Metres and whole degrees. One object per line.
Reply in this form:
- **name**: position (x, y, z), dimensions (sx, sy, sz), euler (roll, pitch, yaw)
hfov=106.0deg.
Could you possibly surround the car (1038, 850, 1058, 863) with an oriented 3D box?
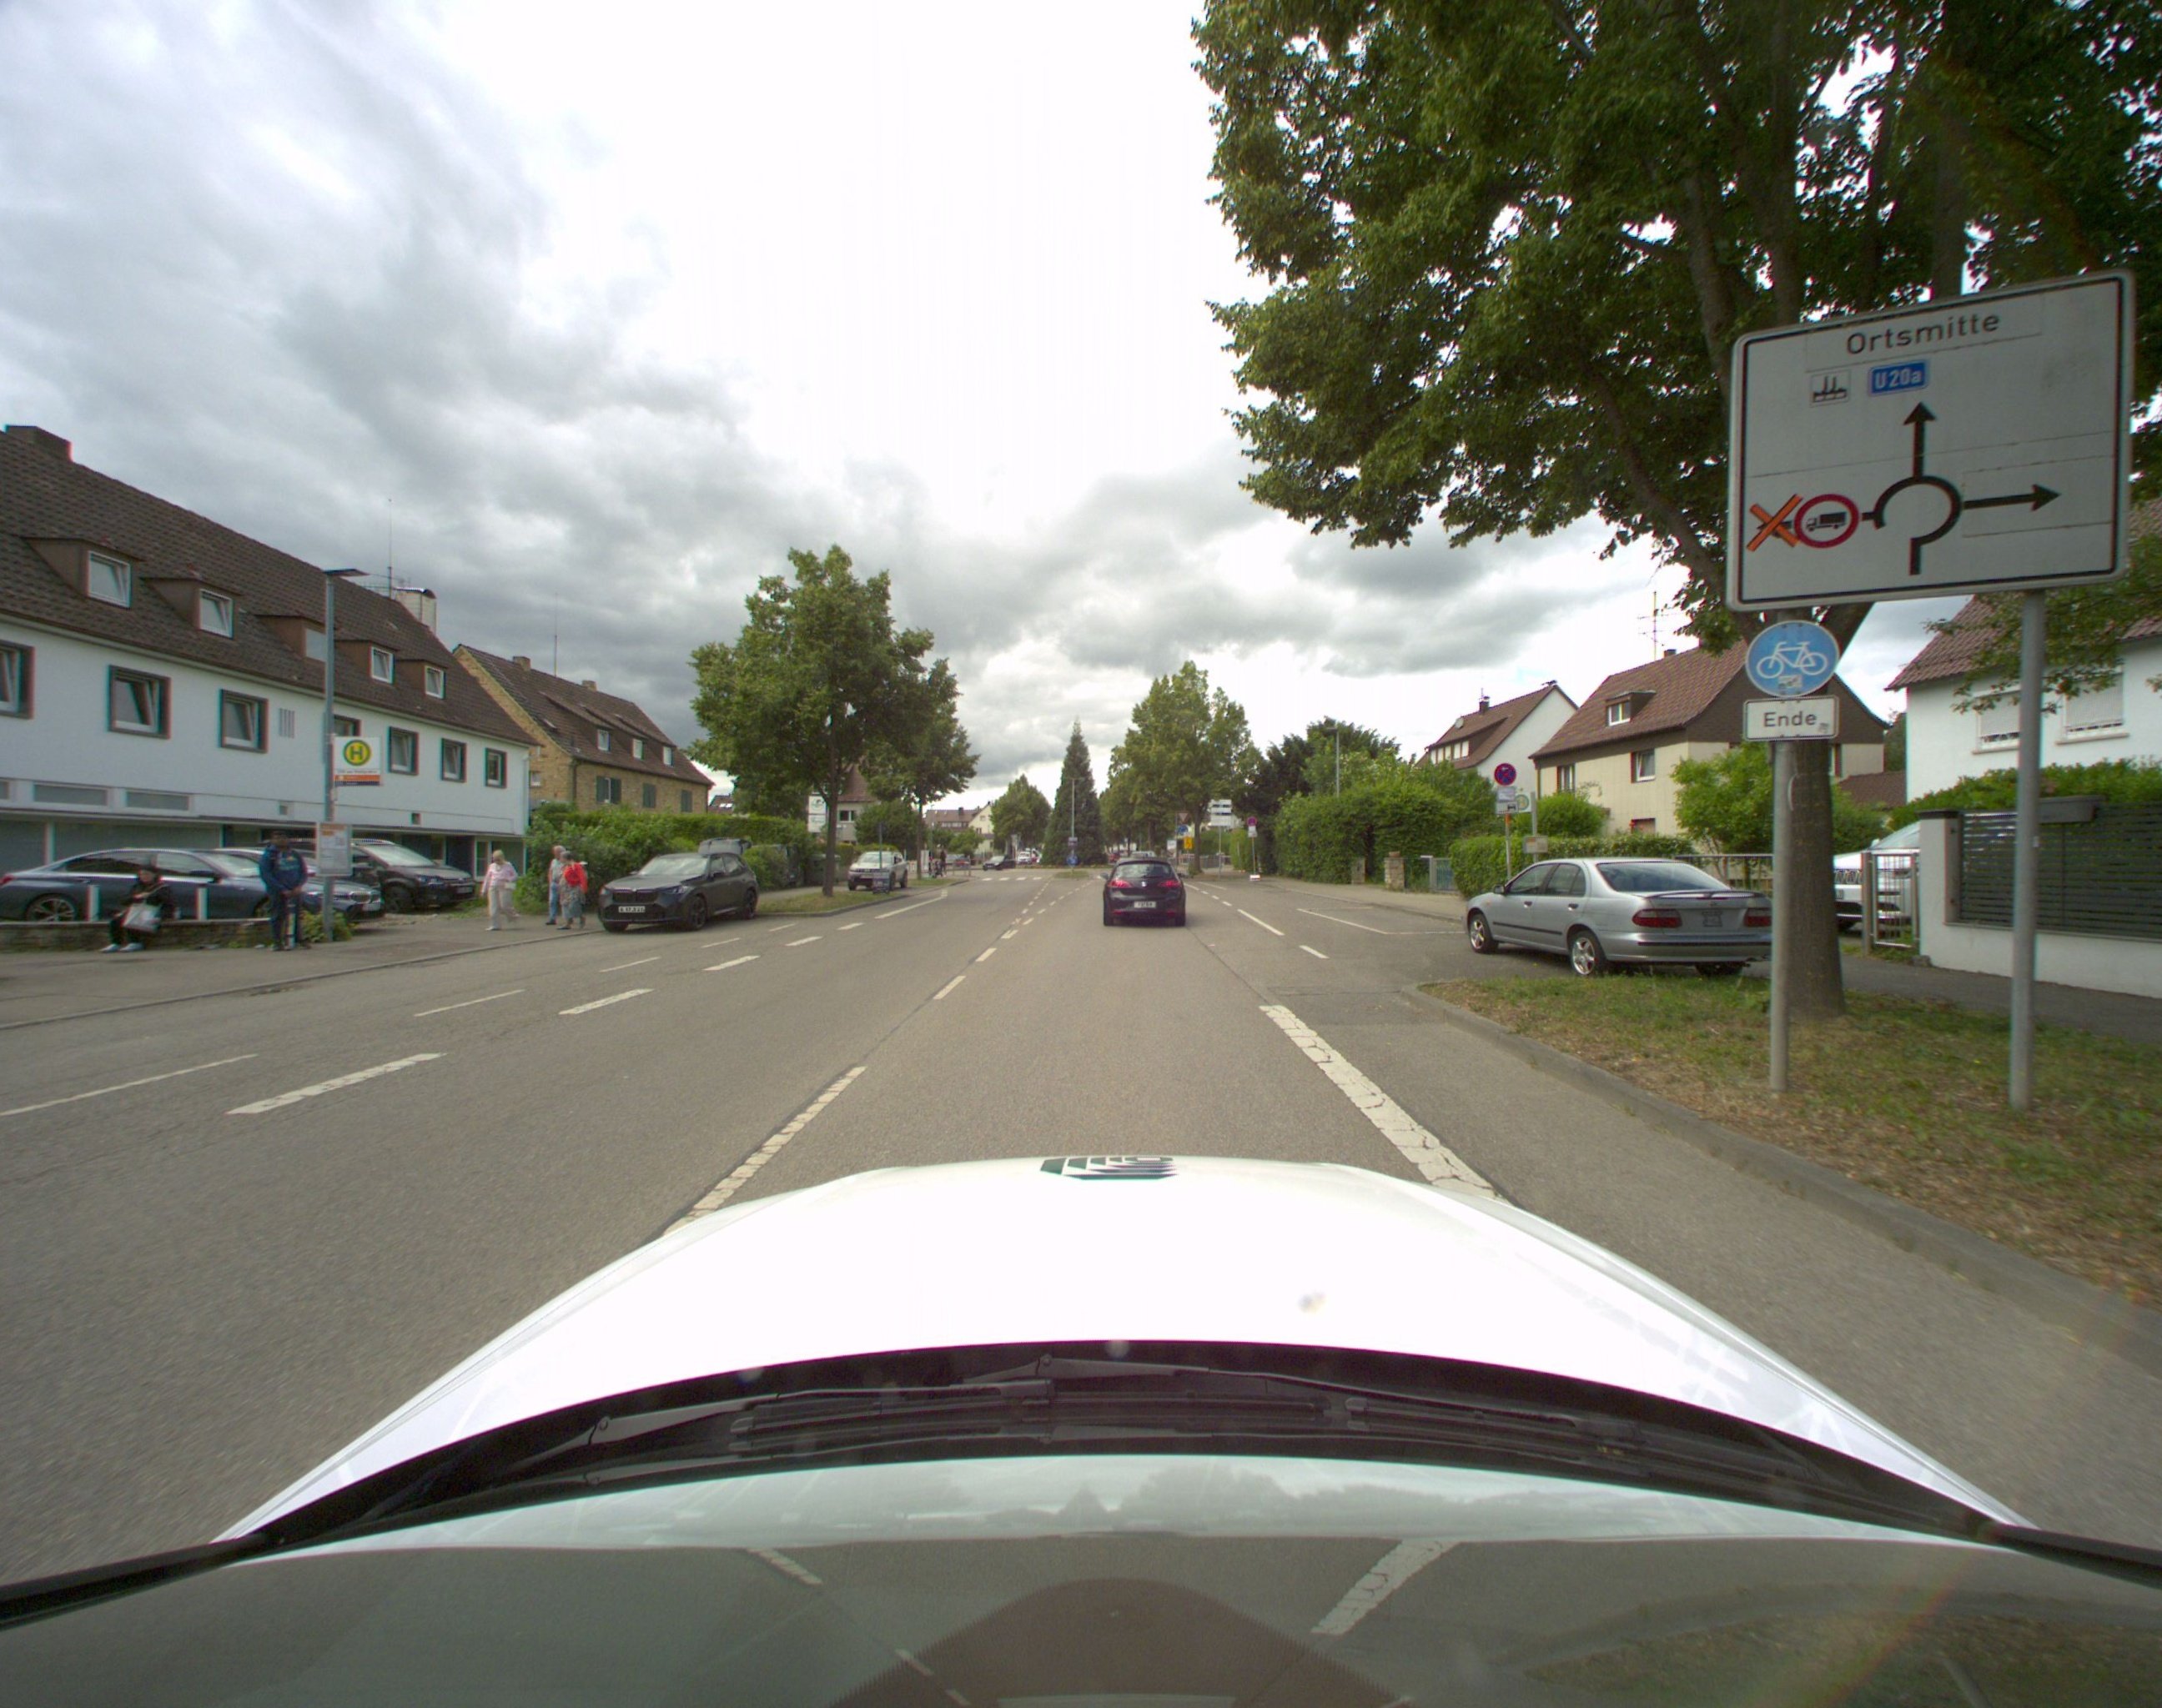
- **car**: position (-4.025, 0.263, 99.464), dimensions (1.860, 1.560, 4.265), euler (-1, 0, 5)

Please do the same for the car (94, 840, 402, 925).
- **car**: position (-16.247, 0.532, 16.087), dimensions (3.981, 1.482, 1.788), euler (2, 0, -5)

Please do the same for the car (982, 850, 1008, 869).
- **car**: position (-7.752, 0.497, 73.855), dimensions (1.560, 1.634, 3.628), euler (-1, 0, 6)

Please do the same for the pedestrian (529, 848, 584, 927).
- **pedestrian**: position (-11.368, 0.711, 17.671), dimensions (0.786, 1.663, 0.590), euler (-1, 0, -6)

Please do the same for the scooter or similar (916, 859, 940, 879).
- **scooter or similar**: position (-8.906, 0.874, 47.421), dimensions (1.292, 1.138, 0.344), euler (-1, 0, -30)

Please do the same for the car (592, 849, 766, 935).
- **car**: position (-8.941, 0.752, 18.622), dimensions (1.719, 1.724, 4.564), euler (0, 0, 0)

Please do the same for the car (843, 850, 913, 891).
- **car**: position (-8.622, 0.662, 34.910), dimensions (1.854, 1.653, 4.295), euler (0, 0, 1)

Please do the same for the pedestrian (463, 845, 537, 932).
- **pedestrian**: position (-11.607, 0.677, 16.297), dimensions (0.785, 1.663, 0.880), euler (3, 0, -6)

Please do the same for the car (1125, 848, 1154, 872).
- **car**: position (4.154, 0.418, 58.149), dimensions (1.985, 1.613, 4.003), euler (0, 0, 3)

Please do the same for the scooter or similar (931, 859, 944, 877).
- **scooter or similar**: position (-9.184, 0.885, 52.032), dimensions (0.409, 1.095, 0.959), euler (2, -1, -39)

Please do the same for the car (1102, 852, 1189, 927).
- **car**: position (1.435, 0.711, 18.364), dimensions (1.724, 1.486, 4.005), euler (-1, 0, 4)

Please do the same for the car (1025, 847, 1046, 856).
- **car**: position (-9.966, -0.591, 177.705), dimensions (3.954, 1.970, 2.047), euler (-1, 0, 20)

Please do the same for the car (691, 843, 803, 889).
- **car**: position (-14.377, 0.514, 35.262), dimensions (3.973, 1.891, 2.001), euler (-1, 0, 1)

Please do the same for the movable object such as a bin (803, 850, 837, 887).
- **movable object such as a bin**: position (-12.052, 0.642, 37.611), dimensions (1.202, 1.651, 0.997), euler (2, 0, -1)

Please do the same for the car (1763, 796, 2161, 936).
- **car**: position (12.682, 0.151, 11.794), dimensions (3.975, 1.823, 1.999), euler (-1, 0, -1)

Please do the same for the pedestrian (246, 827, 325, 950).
- **pedestrian**: position (-12.031, 0.503, 12.335), dimensions (0.502, 1.806, 0.672), euler (-1, 0, 1)

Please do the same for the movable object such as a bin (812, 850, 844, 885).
- **movable object such as a bin**: position (-12.198, 0.642, 39.293), dimensions (1.202, 1.651, 0.997), euler (2, 0, -1)

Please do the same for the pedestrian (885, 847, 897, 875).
- **pedestrian**: position (-12.247, 0.477, 52.476), dimensions (0.565, 1.784, 0.534), euler (-1, 0, -39)

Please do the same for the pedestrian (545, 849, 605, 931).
- **pedestrian**: position (-10.508, 0.728, 16.934), dimensions (0.785, 1.663, 0.753), euler (1, 0, -6)

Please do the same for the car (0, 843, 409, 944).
- **car**: position (-14.871, 0.630, 14.082), dimensions (4.521, 1.553, 2.025), euler (1, 0, -16)

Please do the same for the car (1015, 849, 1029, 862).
- **car**: position (-9.401, 0.261, 130.584), dimensions (2.024, 1.970, 3.998), euler (-1, 0, -1)

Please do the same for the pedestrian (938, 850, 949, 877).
- **pedestrian**: position (-8.671, 0.604, 51.436), dimensions (0.485, 1.669, 0.510), euler (-1, 0, -33)

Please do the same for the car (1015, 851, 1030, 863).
- **car**: position (-8.047, 0.343, 112.403), dimensions (1.792, 1.601, 4.000), euler (-1, 0, 0)

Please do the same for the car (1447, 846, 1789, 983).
- **car**: position (6.444, 0.658, 10.474), dimensions (1.605, 1.377, 4.388), euler (-1, -1, 2)

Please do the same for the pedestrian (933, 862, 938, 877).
- **pedestrian**: position (-8.972, 0.966, 50.135), dimensions (0.239, 0.894, 0.257), euler (0, 0, -28)

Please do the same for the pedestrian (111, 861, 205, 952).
- **pedestrian**: position (-13.892, 0.771, 12.270), dimensions (0.585, 1.313, 0.706), euler (-1, 0, 2)

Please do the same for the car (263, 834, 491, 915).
- **car**: position (-16.333, 0.431, 18.992), dimensions (3.961, 1.690, 1.876), euler (0, 3, 11)

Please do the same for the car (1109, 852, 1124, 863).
- **car**: position (4.943, 0.416, 113.847), dimensions (1.474, 1.489, 3.371), euler (-1, 0, -9)
